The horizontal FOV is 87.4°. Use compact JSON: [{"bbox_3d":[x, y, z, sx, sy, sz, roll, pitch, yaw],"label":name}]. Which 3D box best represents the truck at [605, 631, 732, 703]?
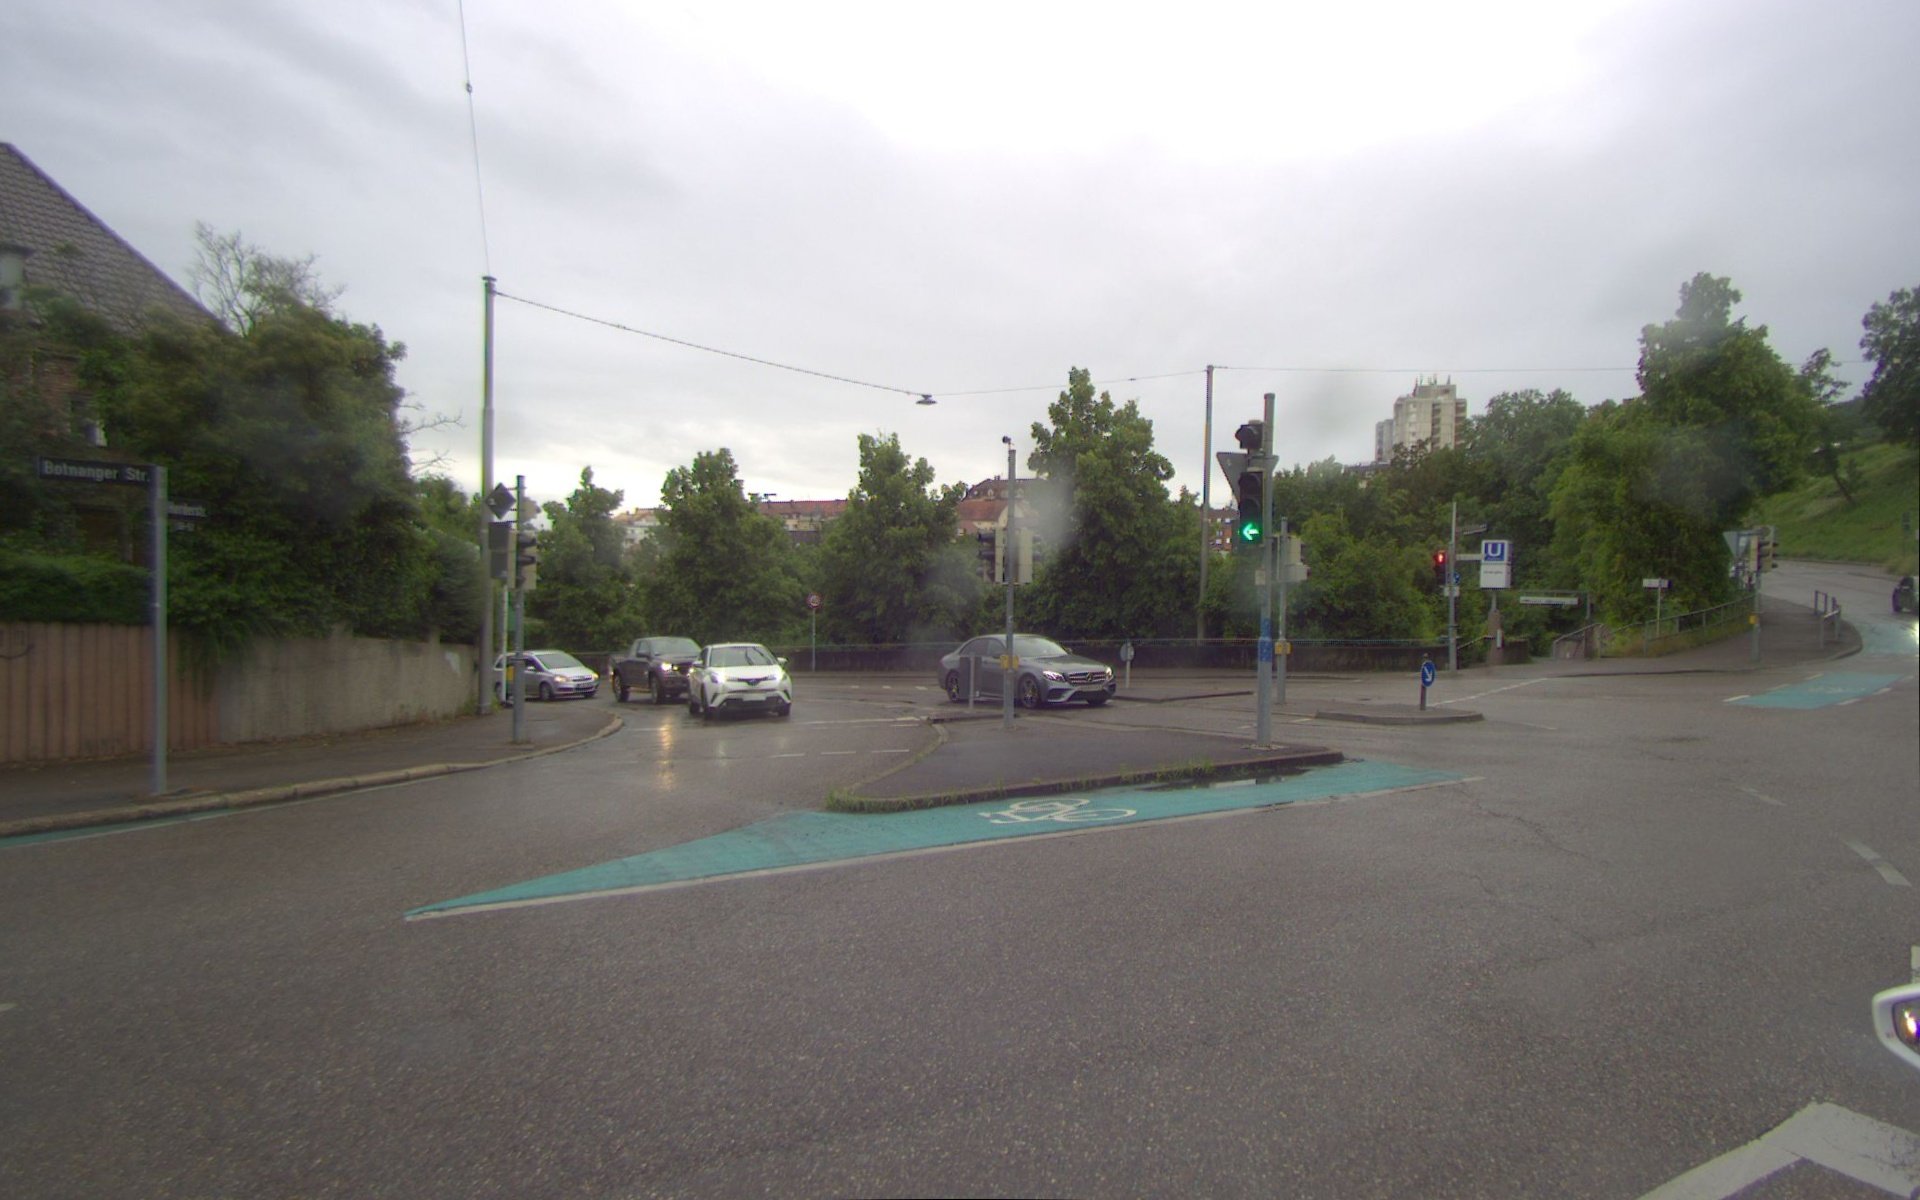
[{"bbox_3d":[-8.420,1.925,28.679,1.890,1.809,4.940,-1,-3,-36],"label":"truck"}]

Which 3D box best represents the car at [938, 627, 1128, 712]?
[{"bbox_3d":[1.398,1.392,21.196,1.955,1.527,4.459,-2,-1,-27],"label":"car"}]

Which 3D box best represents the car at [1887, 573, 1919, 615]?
[{"bbox_3d":[37.281,-0.249,38.574,1.931,1.532,4.388,1,3,36],"label":"car"}]

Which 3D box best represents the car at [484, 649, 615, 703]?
[{"bbox_3d":[-13.667,2.487,33.386,4.238,1.653,1.853,-2,-2,31],"label":"car"}]

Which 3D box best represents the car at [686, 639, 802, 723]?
[{"bbox_3d":[-4.705,1.692,21.512,1.809,1.527,3.867,-2,-3,-21],"label":"car"}]
